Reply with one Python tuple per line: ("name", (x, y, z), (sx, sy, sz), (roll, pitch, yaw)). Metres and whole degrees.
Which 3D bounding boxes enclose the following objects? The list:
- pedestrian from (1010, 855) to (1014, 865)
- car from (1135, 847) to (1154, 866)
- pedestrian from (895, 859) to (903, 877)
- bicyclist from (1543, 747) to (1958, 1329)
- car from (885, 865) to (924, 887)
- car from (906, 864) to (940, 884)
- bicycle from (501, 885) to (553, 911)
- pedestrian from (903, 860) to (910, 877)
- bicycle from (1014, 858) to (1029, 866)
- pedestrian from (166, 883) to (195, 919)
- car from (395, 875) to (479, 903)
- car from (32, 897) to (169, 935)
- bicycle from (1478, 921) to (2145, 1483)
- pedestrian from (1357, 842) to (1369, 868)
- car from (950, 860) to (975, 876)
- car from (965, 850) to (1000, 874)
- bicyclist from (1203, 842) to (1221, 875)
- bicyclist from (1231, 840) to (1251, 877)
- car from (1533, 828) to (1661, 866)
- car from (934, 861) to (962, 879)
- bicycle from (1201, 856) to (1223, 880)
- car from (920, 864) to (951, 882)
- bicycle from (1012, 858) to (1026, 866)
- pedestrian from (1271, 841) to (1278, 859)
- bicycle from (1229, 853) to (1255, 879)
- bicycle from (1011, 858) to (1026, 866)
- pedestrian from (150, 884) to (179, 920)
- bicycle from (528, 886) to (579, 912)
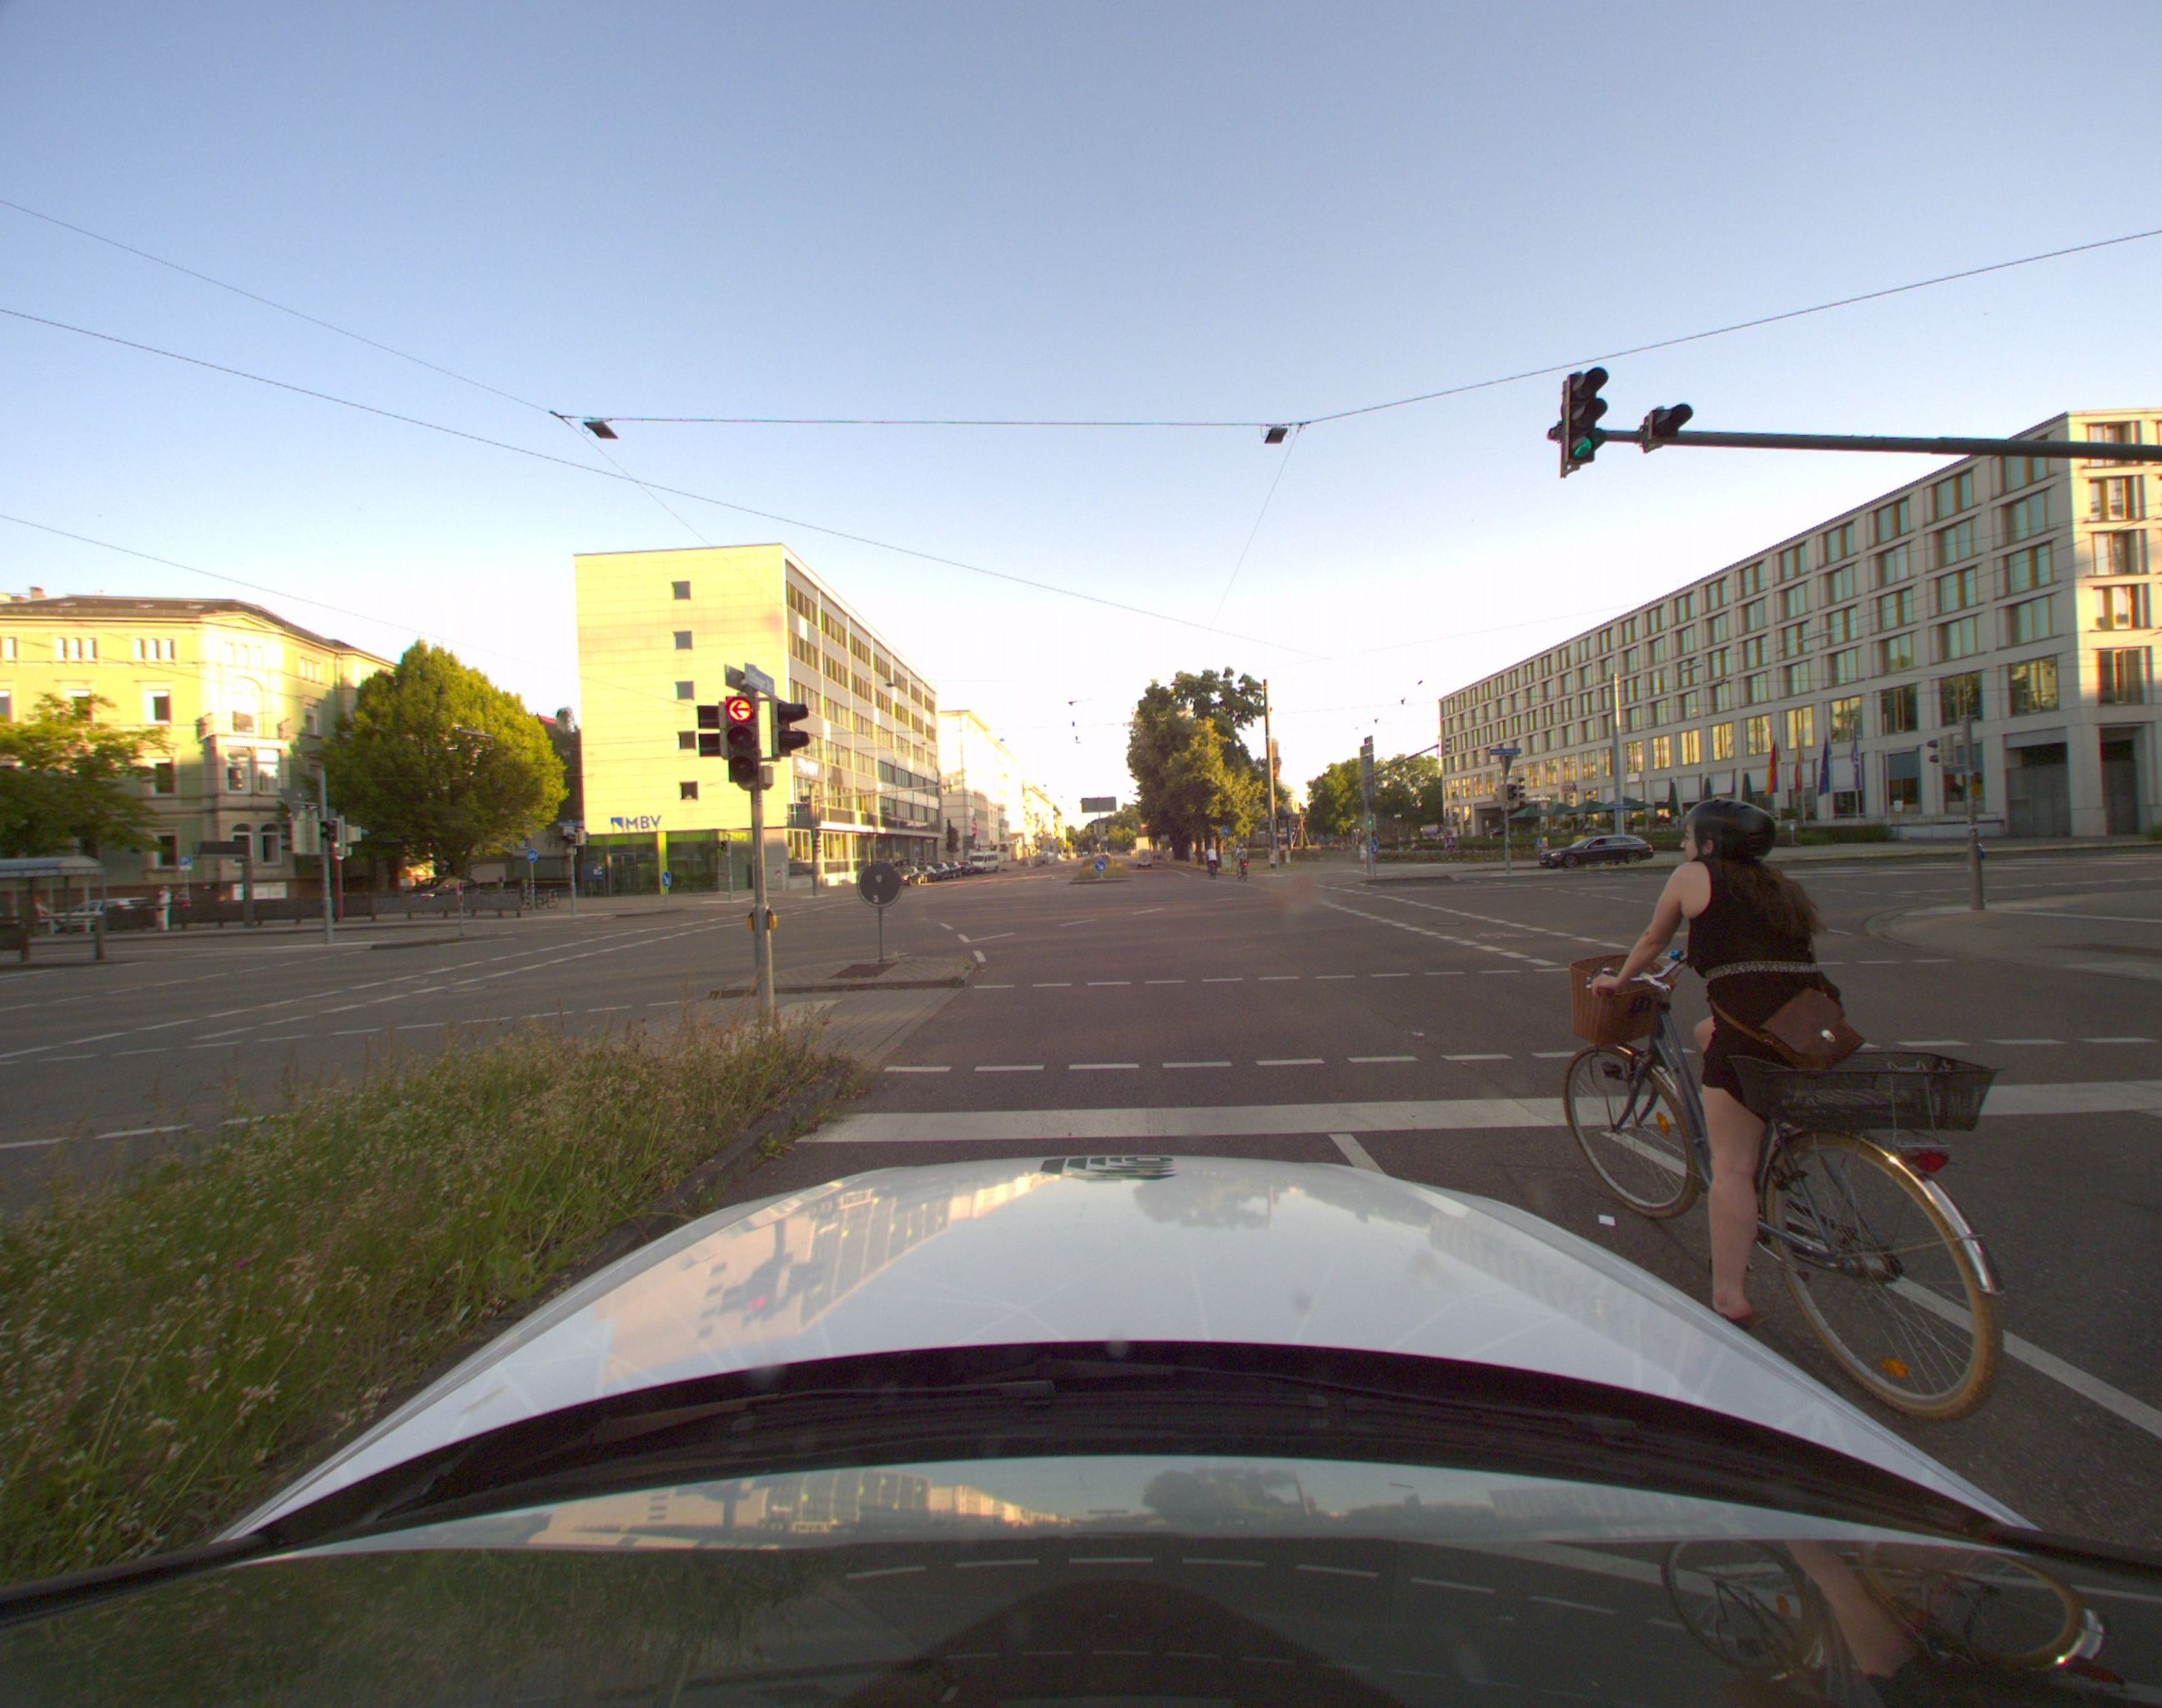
("pedestrian", (-13.984, 1.238, 165.560), (0.677, 2.013, 0.545), (-3, 0, 1))
("car", (5.876, 0.253, 75.440), (1.403, 1.641, 4.000), (-3, 0, 1))
("pedestrian", (-17.624, 1.363, 78.828), (0.549, 1.679, 0.500), (-3, 0, 1))
("bicyclist", (2.171, 0.519, 2.797), (0.597, 1.636, 0.999), (-1, 0, 2))
("car", (-13.509, 1.661, 62.421), (1.913, 1.464, 4.105), (-3, 0, 2))
("car", (-13.313, 1.648, 68.918), (1.913, 1.464, 4.002), (-3, 0, 2))
("bicycle", (-27.101, 2.142, 39.888), (0.832, 1.112, 2.216), (-3, 0, 6))
("pedestrian", (-16.865, 1.392, 78.669), (0.549, 1.679, 0.500), (-3, 0, 1))
("bicycle", (-9.486, 1.263, 129.343), (2.198, 1.236, 0.839), (-3, 0, 0))
("pedestrian", (-46.900, 2.443, 42.418), (0.641, 1.790, 0.720), (-3, 0, -12))
("car", (-36.674, 1.948, 46.492), (1.830, 1.372, 3.594), (-3, 0, 0))
("car", (-45.244, 2.844, 37.678), (3.588, 1.372, 1.833), (-3, 0, -15))
("bicycle", (2.184, 0.892, 2.895), (0.609, 1.132, 2.005), (-1, 0, 2))
("pedestrian", (16.438, 0.058, 47.468), (0.489, 1.540, 0.408), (-3, 0, 1))
("car", (-12.385, 1.448, 85.255), (1.913, 1.568, 4.002), (-3, 0, 2))
("car", (-11.058, 0.869, 91.690), (1.988, 2.478, 5.888), (-3, 0, 12))
("bicyclist", (6.765, 0.217, 42.115), (0.744, 1.663, 0.873), (-3, 0, 1))
("bicyclist", (7.461, 0.219, 38.014), (0.744, 1.691, 0.799), (-3, 0, 1))
("car", (24.710, -0.323, 39.113), (4.803, 1.515, 2.002), (-3, 0, 4))
("car", (-12.853, 1.576, 79.032), (1.913, 1.568, 4.002), (-3, 0, 2))
("bicycle", (6.791, 0.707, 42.261), (0.744, 1.144, 2.506), (-3, 0, 2))
("car", (-13.105, 1.685, 73.731), (1.913, 1.464, 4.002), (-3, 0, 2))
("bicycle", (-9.692, 1.294, 127.315), (2.198, 1.112, 0.689), (-3, 0, 0))
("pedestrian", (18.167, -0.341, 76.500), (0.458, 1.656, 0.567), (-3, 0, 1))
("bicycle", (7.479, 0.549, 38.004), (0.744, 1.144, 2.506), (-3, 0, 2))
("bicycle", (-9.657, 1.304, 125.923), (2.198, 1.112, 0.619), (-3, 0, 0))
("pedestrian", (-46.869, 2.437, 41.649), (0.641, 1.790, 0.720), (-3, 0, -12))
("bicycle", (-25.736, 2.169, 39.791), (0.832, 1.112, 2.216), (-3, 0, 6))
